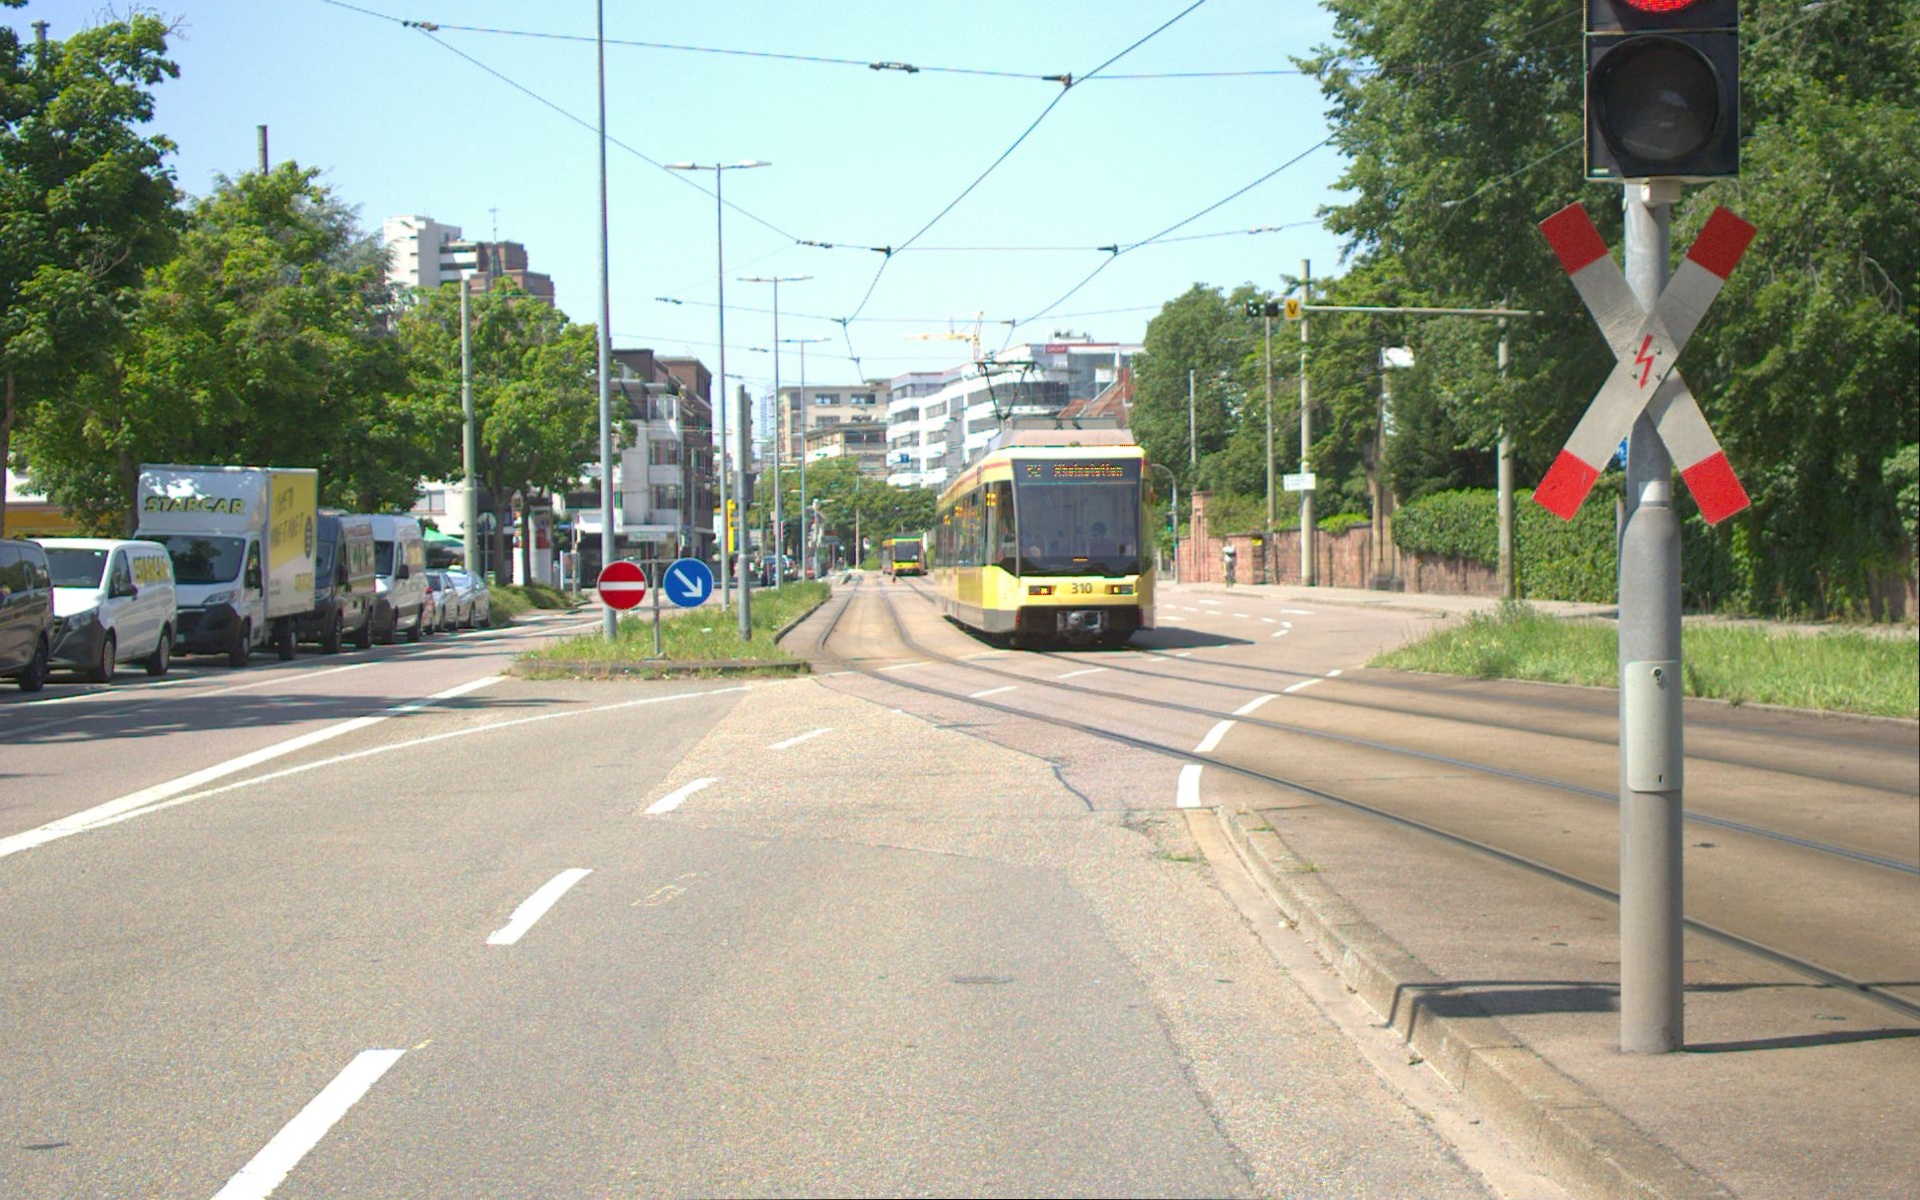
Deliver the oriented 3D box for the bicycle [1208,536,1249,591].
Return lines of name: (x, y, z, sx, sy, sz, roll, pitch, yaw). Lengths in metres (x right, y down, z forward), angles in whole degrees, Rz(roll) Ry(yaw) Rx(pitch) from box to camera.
bicycle: (9.399, -1.291, 120.640, 1.092, 1.901, 3.682, -1, 1, 0)

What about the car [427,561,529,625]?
car: (-12.841, -0.208, 91.800, 2.061, 1.576, 4.871, -1, 1, -1)

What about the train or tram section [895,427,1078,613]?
train or tram section: (0.339, -1.784, 78.029, 2.943, 3.679, 20.287, 0, 1, -3)

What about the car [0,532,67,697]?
car: (-11.955, 0.168, 40.316, 1.868, 1.888, 4.271, -1, 1, -1)

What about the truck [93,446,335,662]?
truck: (-11.930, -0.763, 55.534, 2.157, 3.199, 7.082, 2, 1, 1)

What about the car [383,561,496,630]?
car: (-12.734, -0.138, 84.388, 2.061, 1.576, 4.871, -1, 1, -1)

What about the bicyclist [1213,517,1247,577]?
bicyclist: (9.453, -1.845, 120.544, 1.096, 2.101, 1.031, 0, 0, -1)

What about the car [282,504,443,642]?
car: (-12.154, -0.592, 70.315, 2.157, 2.630, 5.611, 2, 1, 1)

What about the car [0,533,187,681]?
car: (-12.120, 0.053, 46.927, 2.061, 1.891, 4.871, -1, 1, -1)

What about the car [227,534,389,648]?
car: (-11.895, -0.193, 63.050, 2.061, 1.970, 4.871, -1, 1, -1)

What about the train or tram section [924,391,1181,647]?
train or tram section: (1.240, -1.352, 58.834, 2.943, 3.679, 18.392, 0, 1, -3)
